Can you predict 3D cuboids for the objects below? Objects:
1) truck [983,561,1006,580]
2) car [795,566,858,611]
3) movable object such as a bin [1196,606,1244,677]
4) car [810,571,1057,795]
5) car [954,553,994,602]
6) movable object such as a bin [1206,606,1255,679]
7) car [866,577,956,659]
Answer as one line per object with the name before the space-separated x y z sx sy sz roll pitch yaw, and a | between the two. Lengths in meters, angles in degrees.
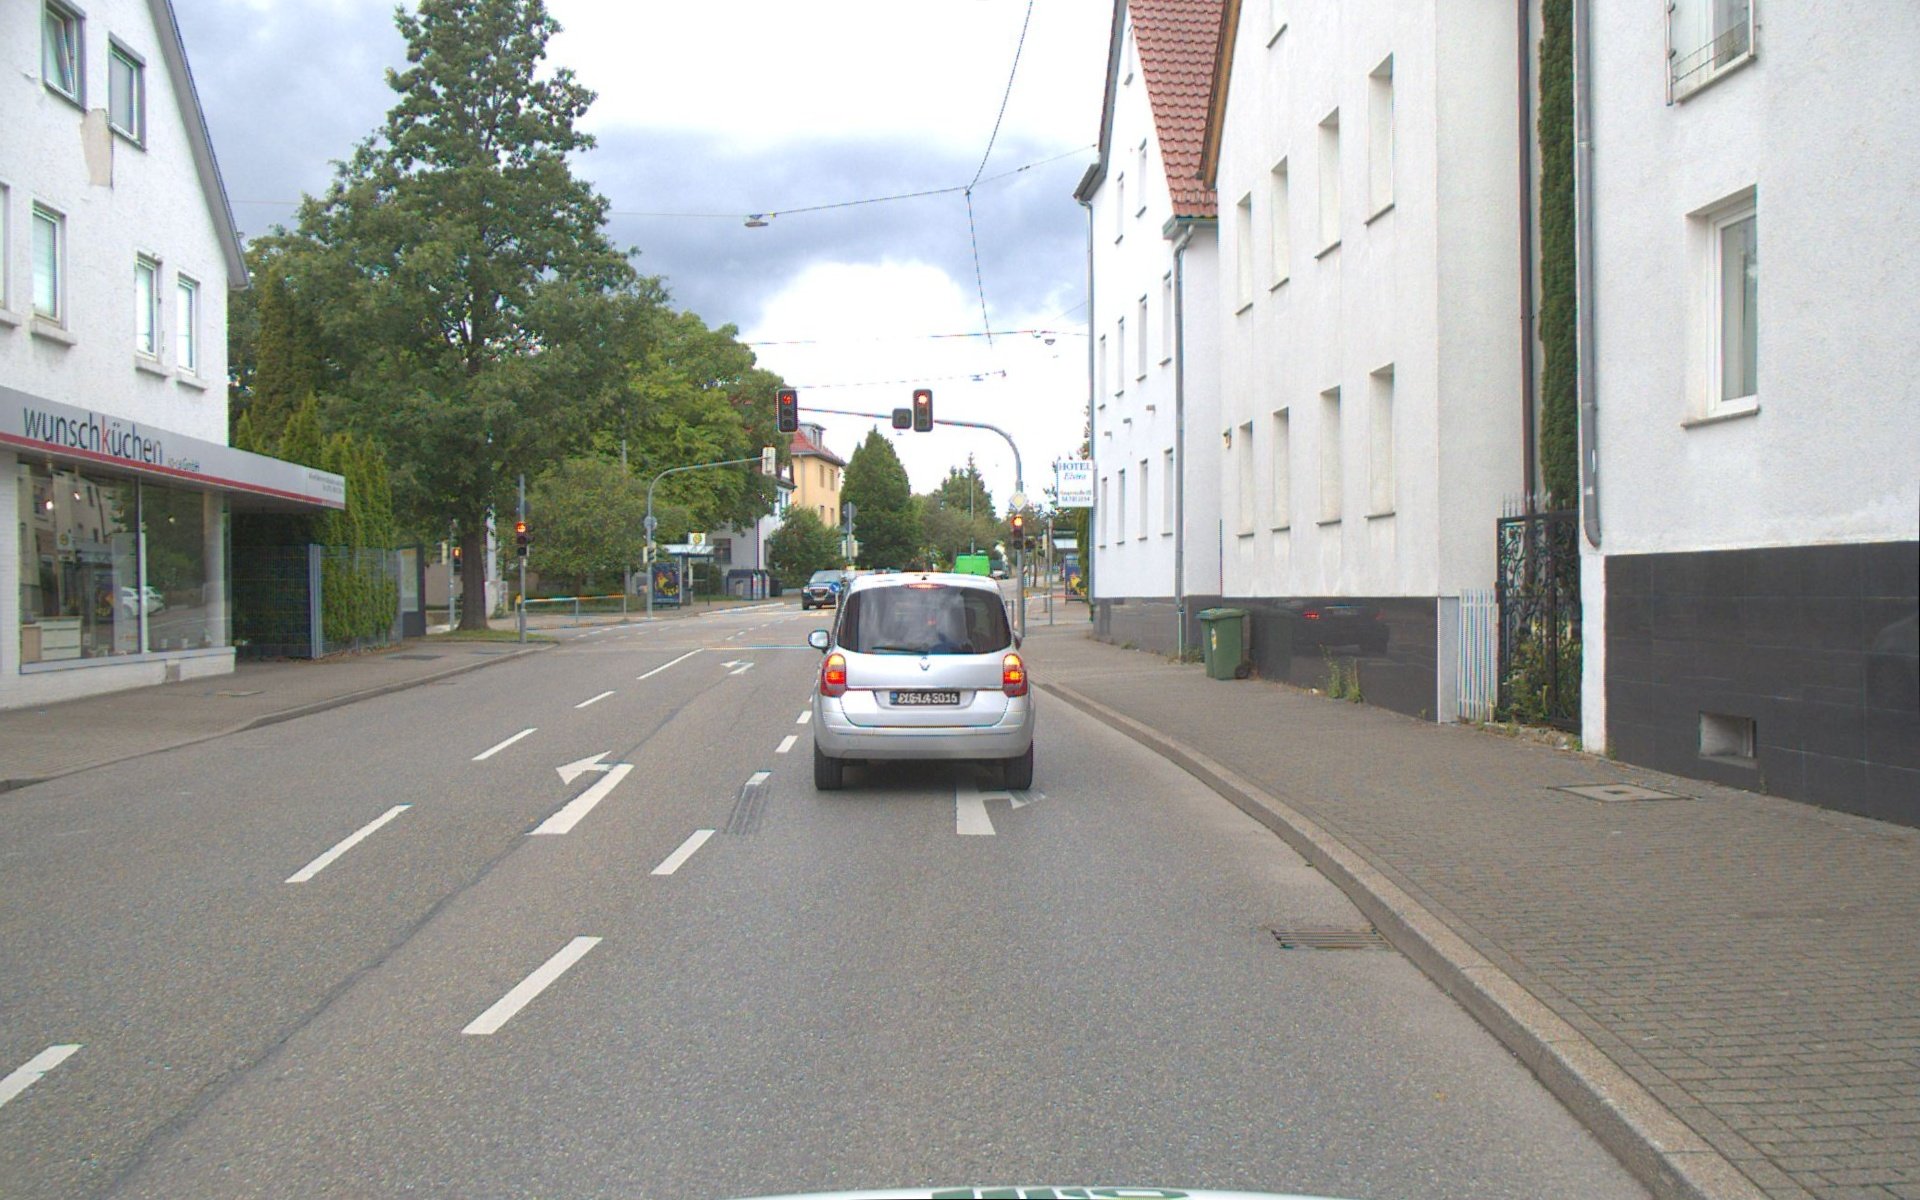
truck | 3.885 -3.329 186.910 2.057 2.049 5.752 0 0 7
car | -5.930 -0.544 73.985 1.885 1.804 4.003 -4 0 7
movable object such as a bin | 3.630 0.574 23.092 0.529 0.957 0.487 -3 0 -3
car | -0.287 0.570 13.538 1.720 1.557 3.997 0 0 -3
car | 0.804 -1.183 89.747 2.016 2.556 5.597 0 0 2
movable object such as a bin | 3.680 0.578 22.557 0.529 0.957 0.487 -3 0 -3
car | -1.036 0.332 33.636 1.720 1.557 3.795 0 0 -3
